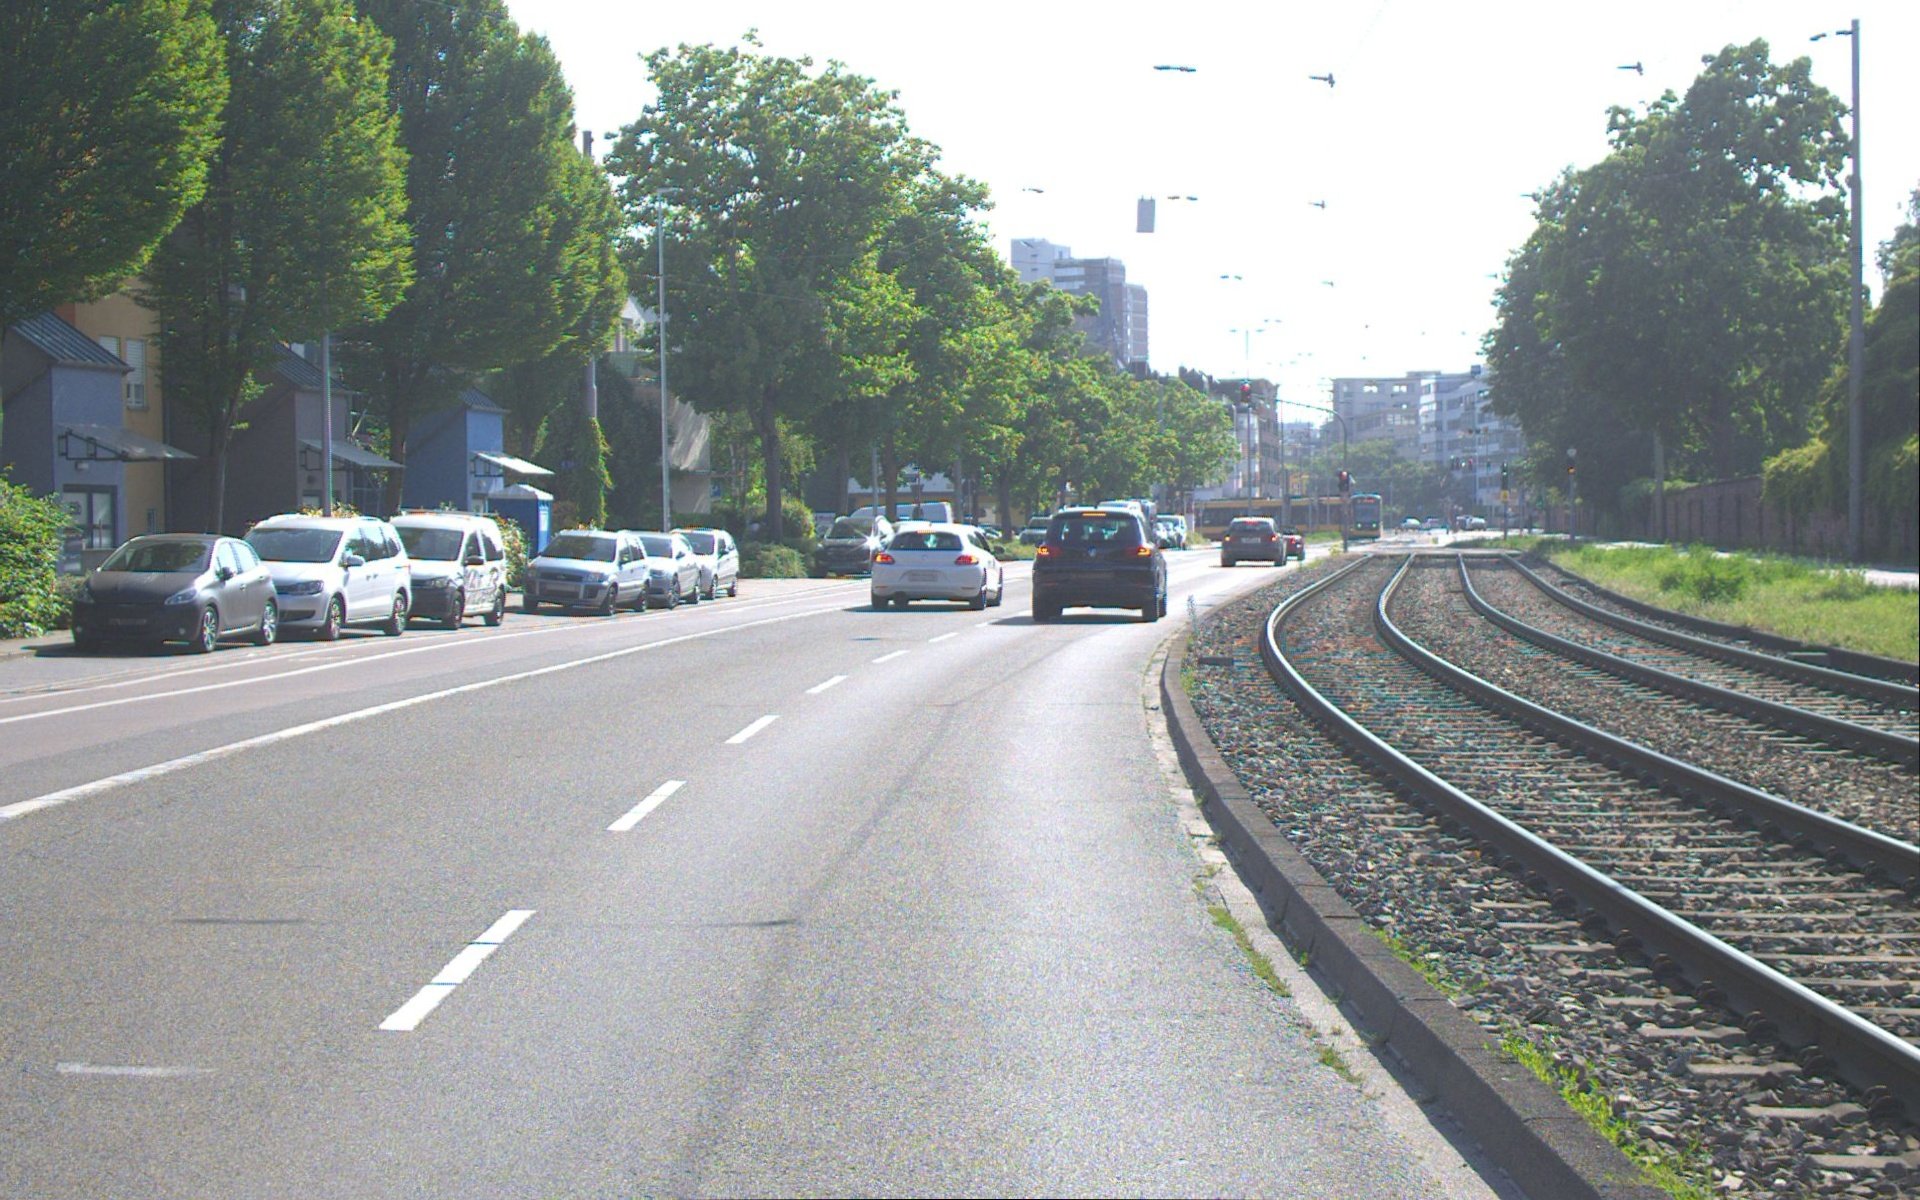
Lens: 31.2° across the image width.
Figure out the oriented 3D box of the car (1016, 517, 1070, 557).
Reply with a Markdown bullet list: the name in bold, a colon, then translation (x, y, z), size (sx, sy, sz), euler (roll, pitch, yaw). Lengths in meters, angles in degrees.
- **car**: translation (3.527, -2.669, 145.102), size (1.732, 1.652, 3.999), euler (-1, 1, 10)

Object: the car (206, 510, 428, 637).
- **car**: translation (-9.146, -0.418, 49.314), size (1.669, 1.695, 4.823), euler (2, 1, 8)

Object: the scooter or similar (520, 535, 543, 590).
- **scooter or similar**: translation (-9.059, -0.806, 72.714), size (0.294, 1.149, 1.043), euler (-1, 1, 3)

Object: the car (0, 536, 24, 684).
- **car**: translation (-10.633, 0.120, 32.656), size (1.710, 1.467, 4.909), euler (2, 1, 5)

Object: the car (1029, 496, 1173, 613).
- **car**: translation (2.111, -0.675, 50.380), size (1.812, 1.639, 3.999), euler (0, 1, 7)

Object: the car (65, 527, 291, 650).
- **car**: translation (-9.943, -0.190, 43.990), size (1.616, 1.460, 4.057), euler (1, 1, 5)

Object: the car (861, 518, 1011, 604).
- **car**: translation (-0.353, -0.659, 55.797), size (1.865, 1.343, 3.999), euler (0, 1, 8)

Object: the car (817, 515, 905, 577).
- **car**: translation (-2.766, -1.544, 96.890), size (1.712, 1.688, 4.421), euler (0, 1, 8)

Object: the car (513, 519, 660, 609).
- **car**: translation (-7.066, -0.708, 65.413), size (1.763, 1.533, 3.980), euler (4, 2, 8)

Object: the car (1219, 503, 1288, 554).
- **car**: translation (8.736, -2.142, 102.050), size (1.812, 1.444, 3.999), euler (1, 2, 8)

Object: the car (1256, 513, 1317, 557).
- **car**: translation (11.325, -2.261, 119.082), size (1.812, 1.444, 3.999), euler (1, 2, 9)

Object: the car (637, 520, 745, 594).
- **car**: translation (-5.887, -0.966, 75.570), size (1.602, 1.489, 3.508), euler (4, 2, 7)

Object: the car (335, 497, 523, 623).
- **car**: translation (-8.519, -0.675, 55.506), size (1.763, 1.839, 4.579), euler (4, 2, 6)

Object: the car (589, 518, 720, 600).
- **car**: translation (-6.205, -0.866, 70.246), size (1.749, 1.505, 4.755), euler (4, 2, 5)

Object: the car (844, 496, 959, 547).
- **car**: translation (-2.879, -3.852, 169.332), size (5.377, 2.415, 2.087), euler (-1, 1, 8)
